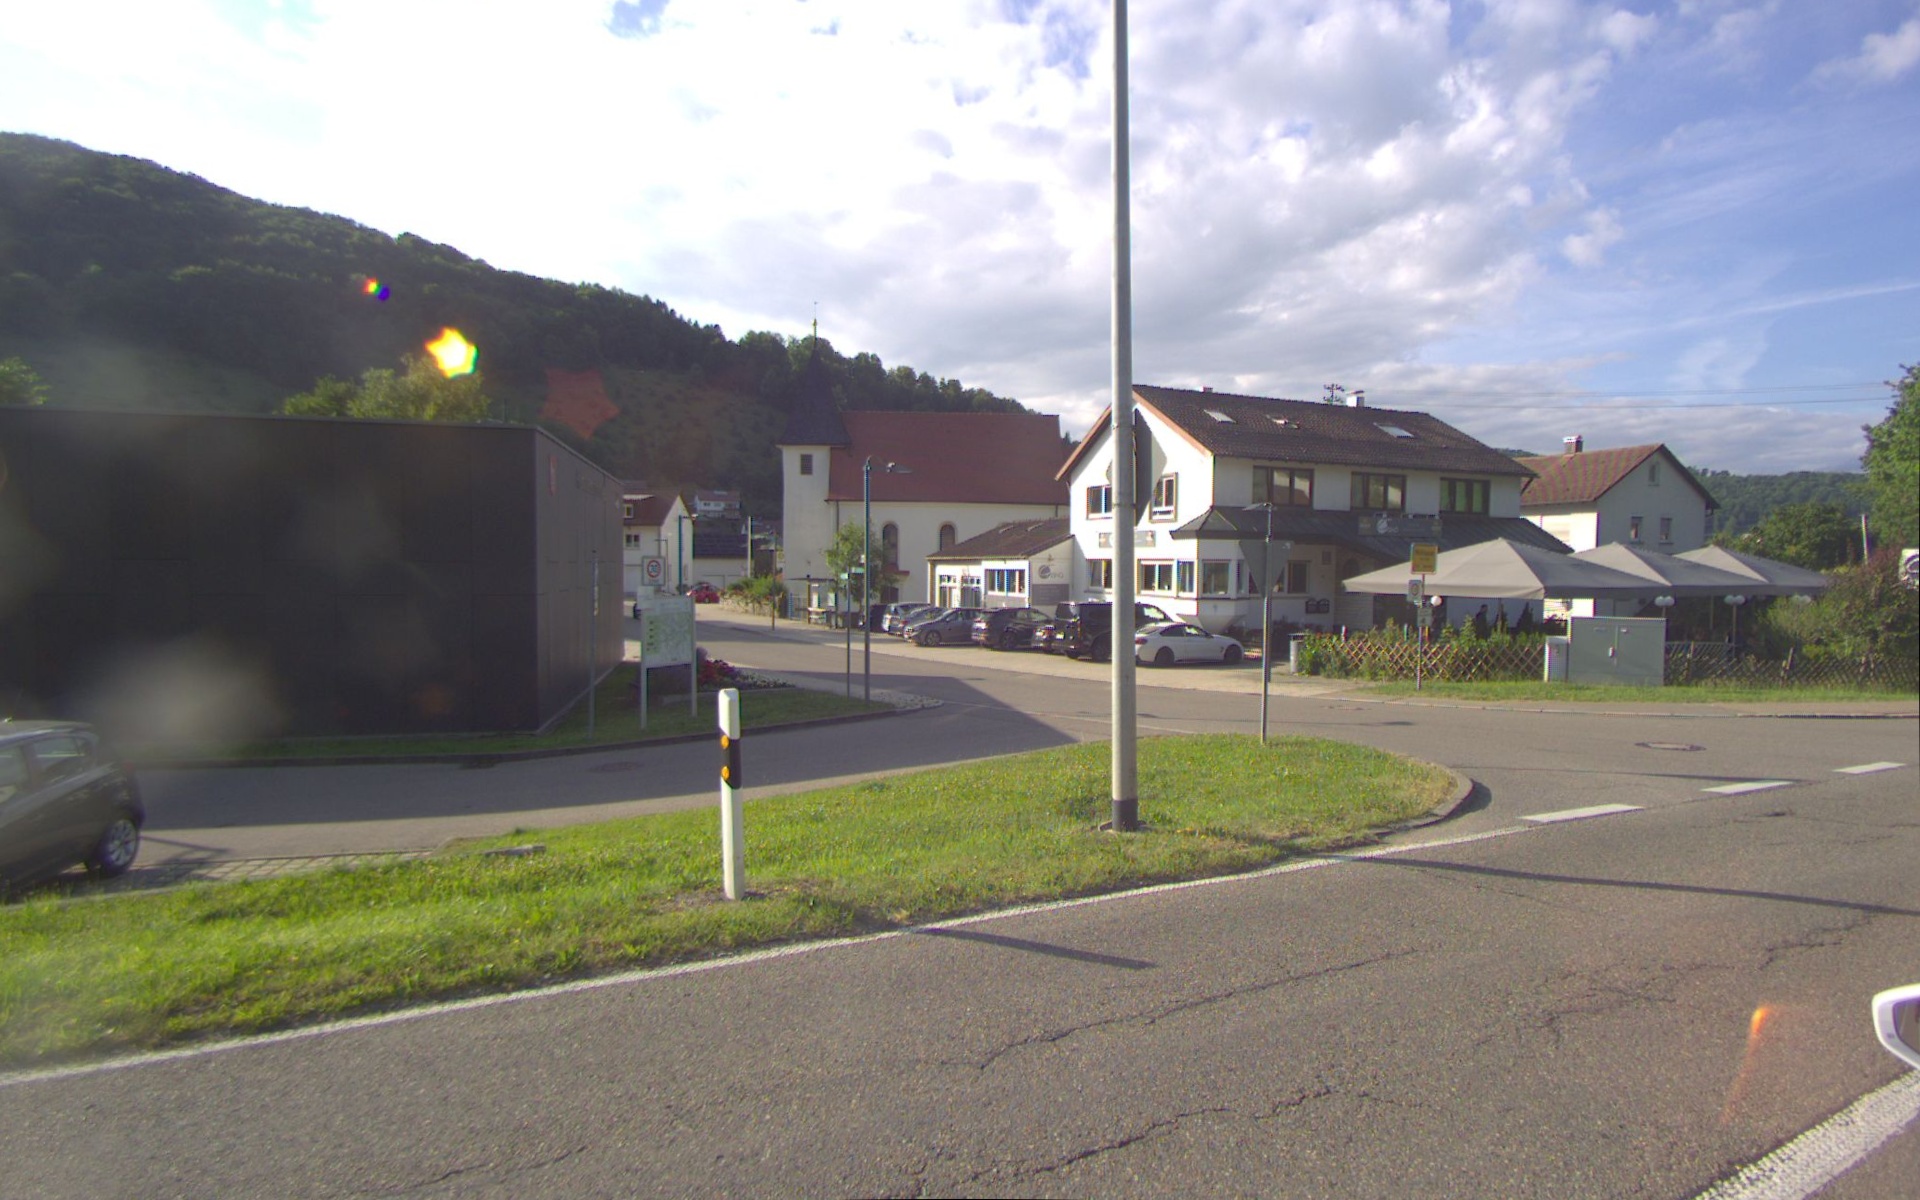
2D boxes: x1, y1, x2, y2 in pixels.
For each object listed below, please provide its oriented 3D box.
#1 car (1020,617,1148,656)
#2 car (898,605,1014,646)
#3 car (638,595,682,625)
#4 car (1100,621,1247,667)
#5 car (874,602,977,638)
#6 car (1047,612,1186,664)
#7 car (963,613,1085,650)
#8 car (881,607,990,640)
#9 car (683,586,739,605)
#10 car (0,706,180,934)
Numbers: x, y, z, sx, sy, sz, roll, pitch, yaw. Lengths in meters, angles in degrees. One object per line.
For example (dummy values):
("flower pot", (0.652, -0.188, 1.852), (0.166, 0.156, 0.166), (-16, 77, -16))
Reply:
("car", (4.736, 1.384, 38.285), (4.518, 1.408, 1.986), (1, -1, -27))
("car", (-0.159, 1.071, 42.326), (4.518, 1.618, 1.986), (1, -1, -27))
("car", (-17.542, 0.573, 58.606), (1.867, 1.706, 3.974), (0, 0, -26))
("car", (7.016, 1.411, 32.928), (4.518, 1.408, 1.986), (1, -1, -27))
("car", (-1.640, 0.950, 48.087), (4.518, 1.665, 1.986), (1, -1, -27))
("car", (5.480, 1.290, 35.135), (4.518, 1.707, 1.986), (1, -1, -27))
("car", (2.557, 1.250, 40.182), (4.518, 1.431, 1.986), (1, -1, -27))
("car", (-1.098, 1.066, 45.489), (4.518, 1.431, 1.986), (1, -1, -27))
("car", (-20.012, -0.349, 80.934), (1.972, 1.528, 3.977), (1, 0, 43))
("car", (-8.389, 1.805, 8.017), (1.801, 1.555, 3.992), (1, -1, -12))
